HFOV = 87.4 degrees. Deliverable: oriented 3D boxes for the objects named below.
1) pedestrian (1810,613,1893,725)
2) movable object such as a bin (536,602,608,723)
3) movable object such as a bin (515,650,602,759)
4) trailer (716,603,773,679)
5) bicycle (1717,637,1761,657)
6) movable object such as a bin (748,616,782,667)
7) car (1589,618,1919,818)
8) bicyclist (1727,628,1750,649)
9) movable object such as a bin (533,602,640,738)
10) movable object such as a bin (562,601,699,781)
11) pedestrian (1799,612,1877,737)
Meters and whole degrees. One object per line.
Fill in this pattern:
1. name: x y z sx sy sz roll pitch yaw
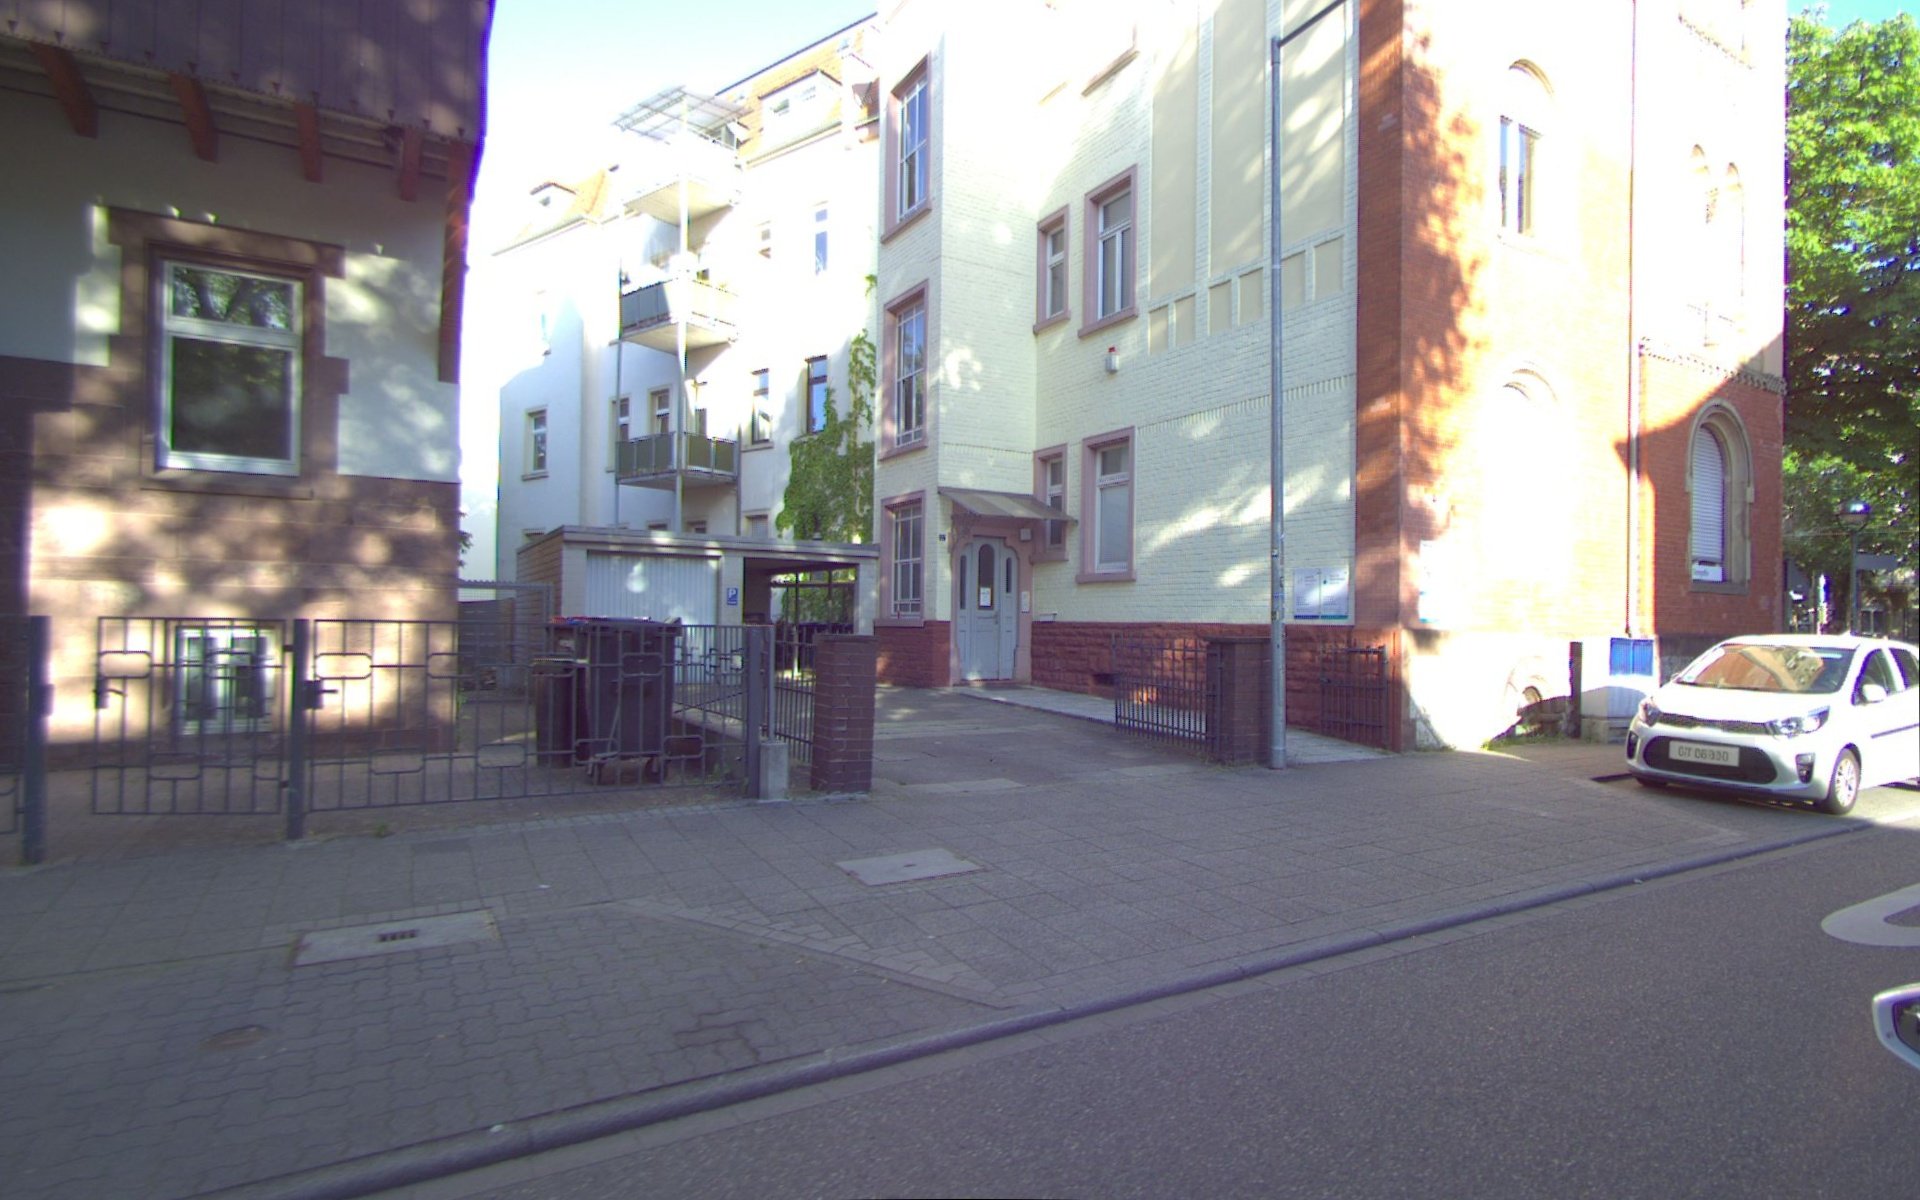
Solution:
1. pedestrian: 13.825 1.041 15.576 0.854 1.665 0.859 2 -1 -41
2. movable object such as a bin: -4.549 0.698 11.753 0.623 1.327 1.196 1 -1 -28
3. movable object such as a bin: -3.470 0.889 8.709 0.663 0.890 0.480 1 0 -21
4. trailer: -3.773 0.728 17.738 0.758 1.234 2.410 1 -2 -7
5. bicycle: 38.939 2.354 50.217 1.708 0.958 0.654 1 -1 -3
6. movable object such as a bin: -4.449 0.935 22.907 0.531 1.139 0.773 1 -1 -31
7. car: 7.950 0.993 9.626 3.753 1.505 1.696 2 1 -31
8. bicyclist: 38.948 1.925 50.232 0.664 1.068 0.612 1 -1 -3
9. movable object such as a bin: -3.962 0.697 10.618 0.681 1.335 1.369 1 -1 -37
10. movable object such as a bin: -2.704 0.682 8.192 0.954 1.316 1.374 1 -1 -21
11. pedestrian: 11.846 0.984 13.554 0.846 1.626 0.596 1 -1 -34
